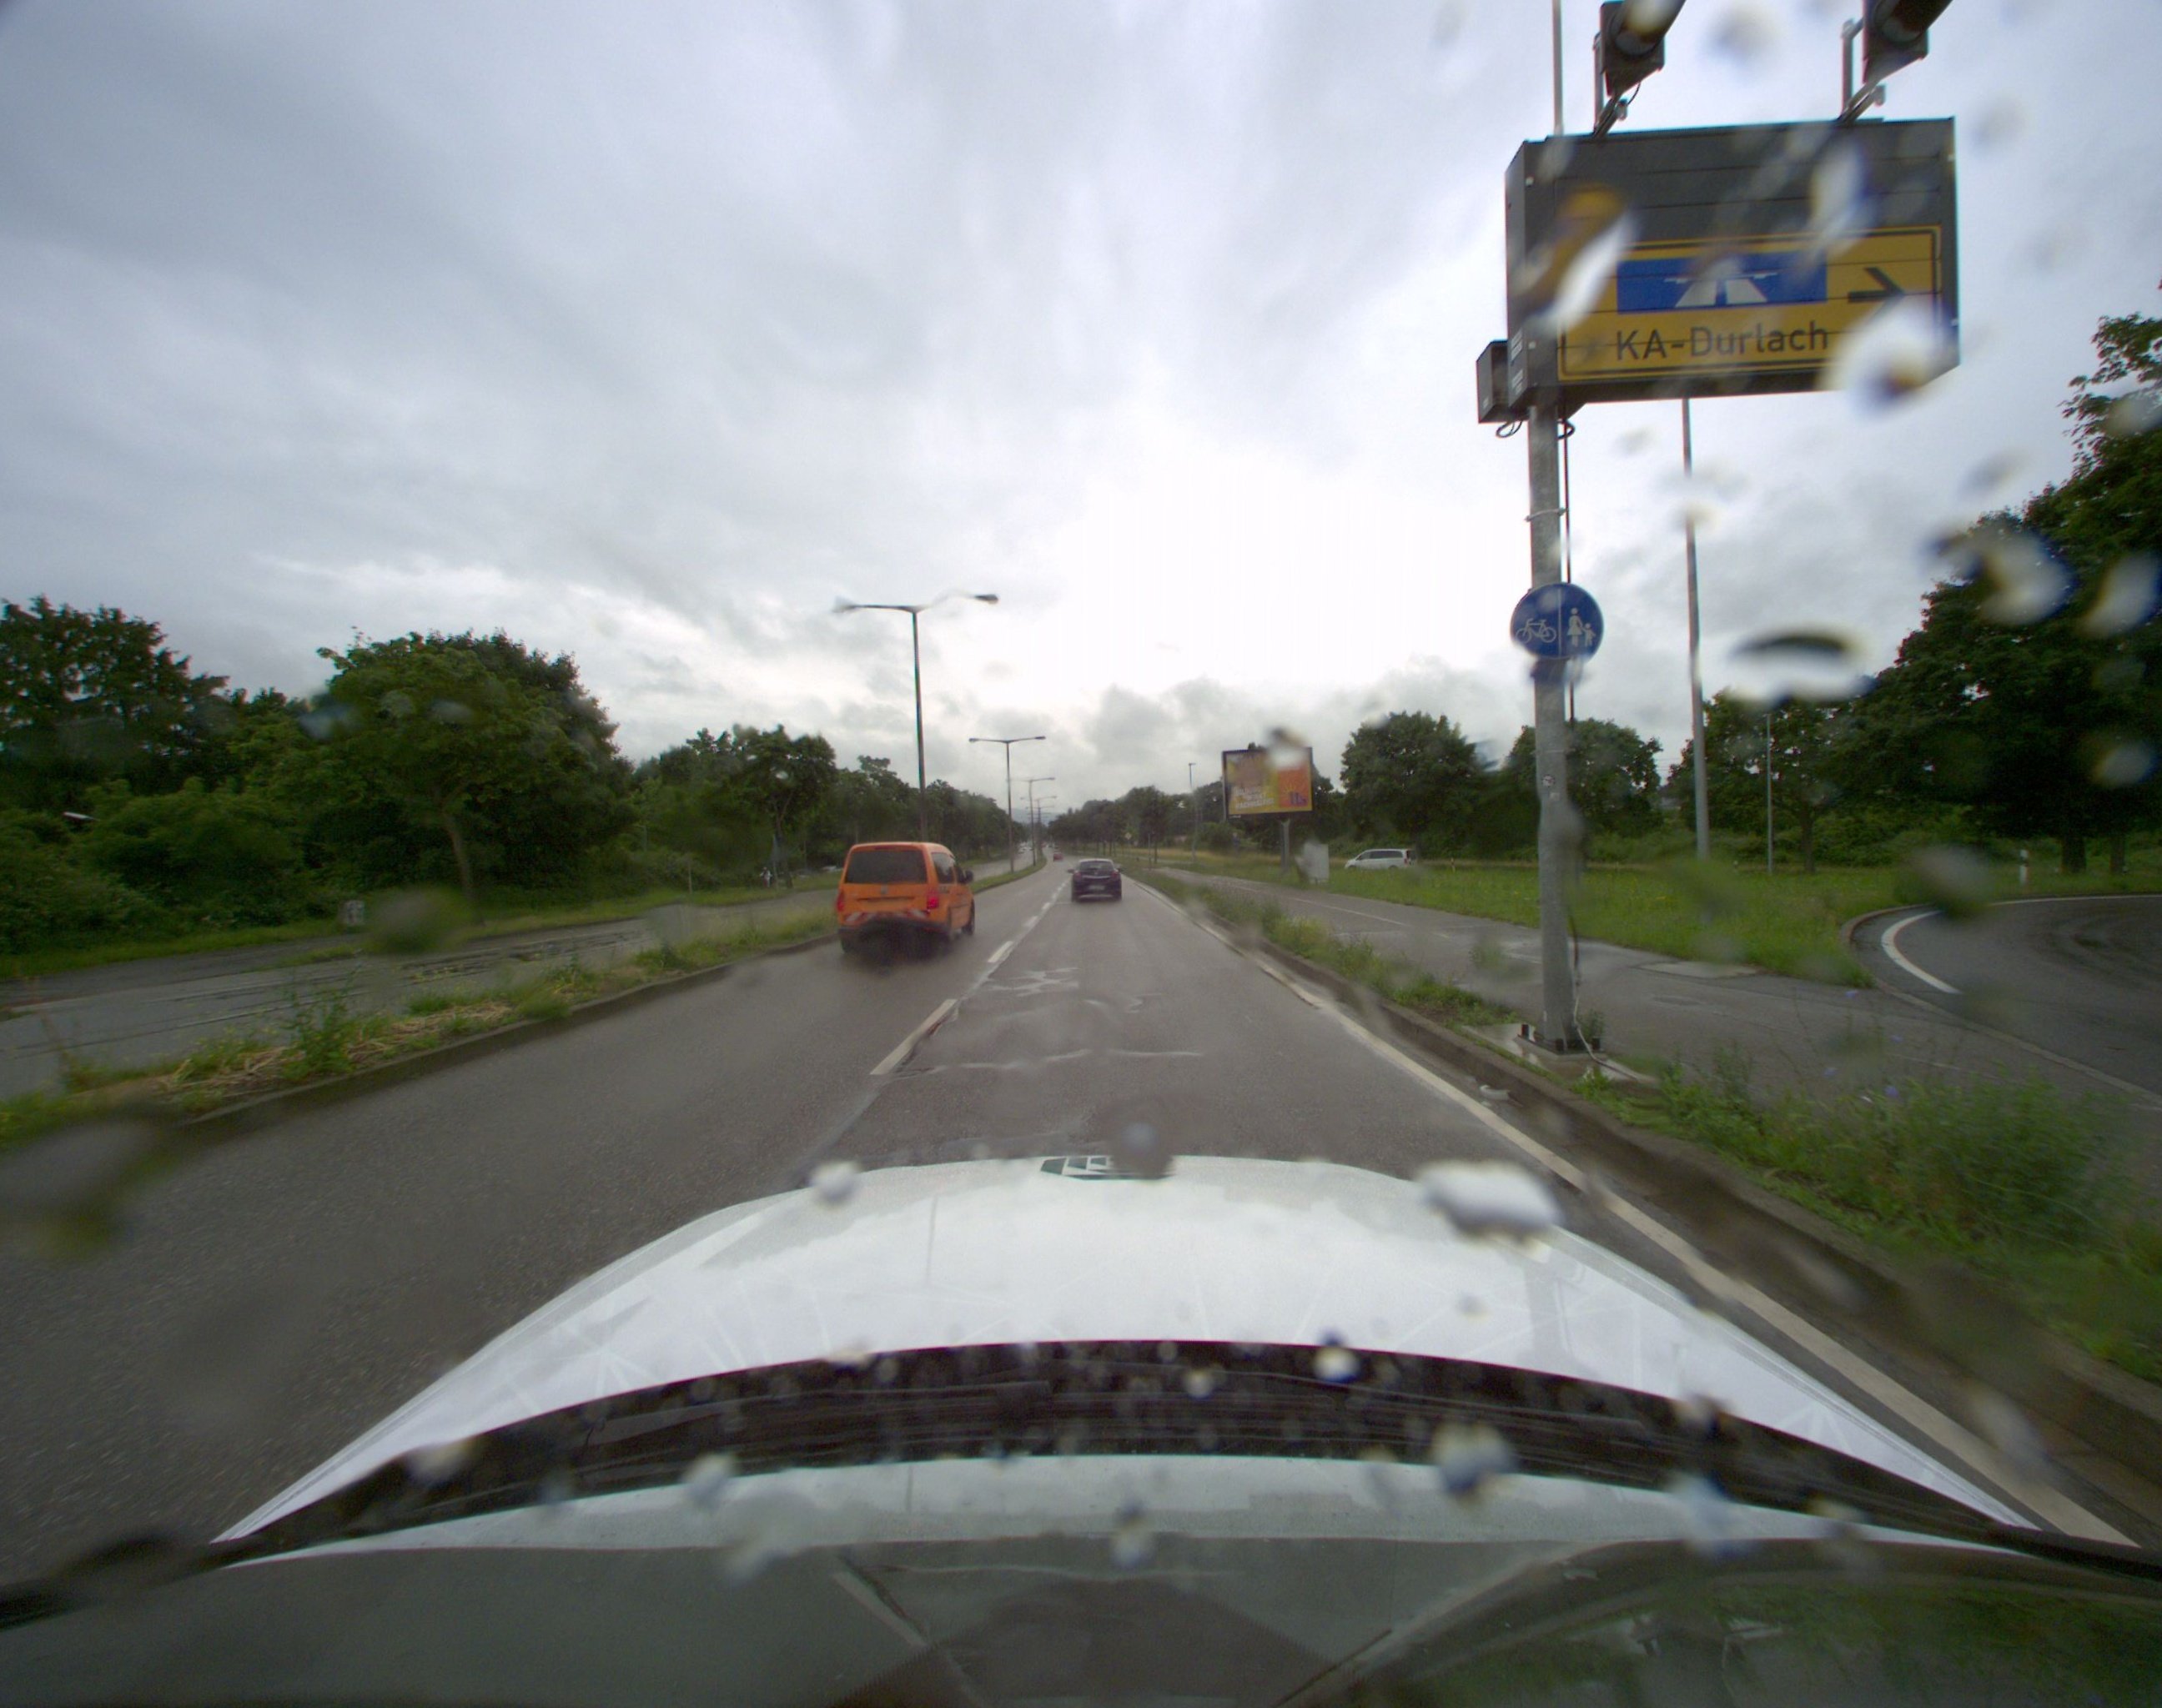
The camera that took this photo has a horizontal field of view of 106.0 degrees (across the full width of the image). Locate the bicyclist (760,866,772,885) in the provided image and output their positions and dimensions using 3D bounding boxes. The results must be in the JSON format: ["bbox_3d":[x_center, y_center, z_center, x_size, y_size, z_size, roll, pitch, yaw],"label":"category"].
[{"bbox_3d":[-21.823,1.509,56.438,0.520,1.303,0.808,-1,0,1],"label":"bicyclist"}]

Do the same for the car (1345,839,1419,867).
[{"bbox_3d":[21.792,-0.043,59.124,4.551,1.974,2.078,-1,0,45],"label":"car"}]

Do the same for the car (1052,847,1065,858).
[{"bbox_3d":[-3.800,-0.305,139.291,1.987,1.879,4.000,-1,0,1],"label":"car"}]

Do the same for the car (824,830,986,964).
[{"bbox_3d":[-2.953,0.649,14.783,1.728,2.019,4.851,-1,0,2],"label":"car"}]

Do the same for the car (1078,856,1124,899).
[{"bbox_3d":[0.669,0.761,28.406,1.458,1.328,3.758,-1,1,1],"label":"car"}]

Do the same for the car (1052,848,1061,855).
[{"bbox_3d":[-7.834,-0.844,258.647,2.510,2.052,5.288,-2,0,-3],"label":"car"}]

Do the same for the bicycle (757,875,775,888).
[{"bbox_3d":[-21.817,1.891,56.431,0.520,0.886,1.634,-1,0,1],"label":"bicycle"}]

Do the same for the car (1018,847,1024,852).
[{"bbox_3d":[-18.576,-1.481,253.141,1.678,1.554,3.999,-1,0,0],"label":"car"}]

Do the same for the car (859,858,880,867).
[{"bbox_3d":[-40.701,1.657,156.572,3.730,1.426,1.485,-2,1,-7],"label":"car"}]
